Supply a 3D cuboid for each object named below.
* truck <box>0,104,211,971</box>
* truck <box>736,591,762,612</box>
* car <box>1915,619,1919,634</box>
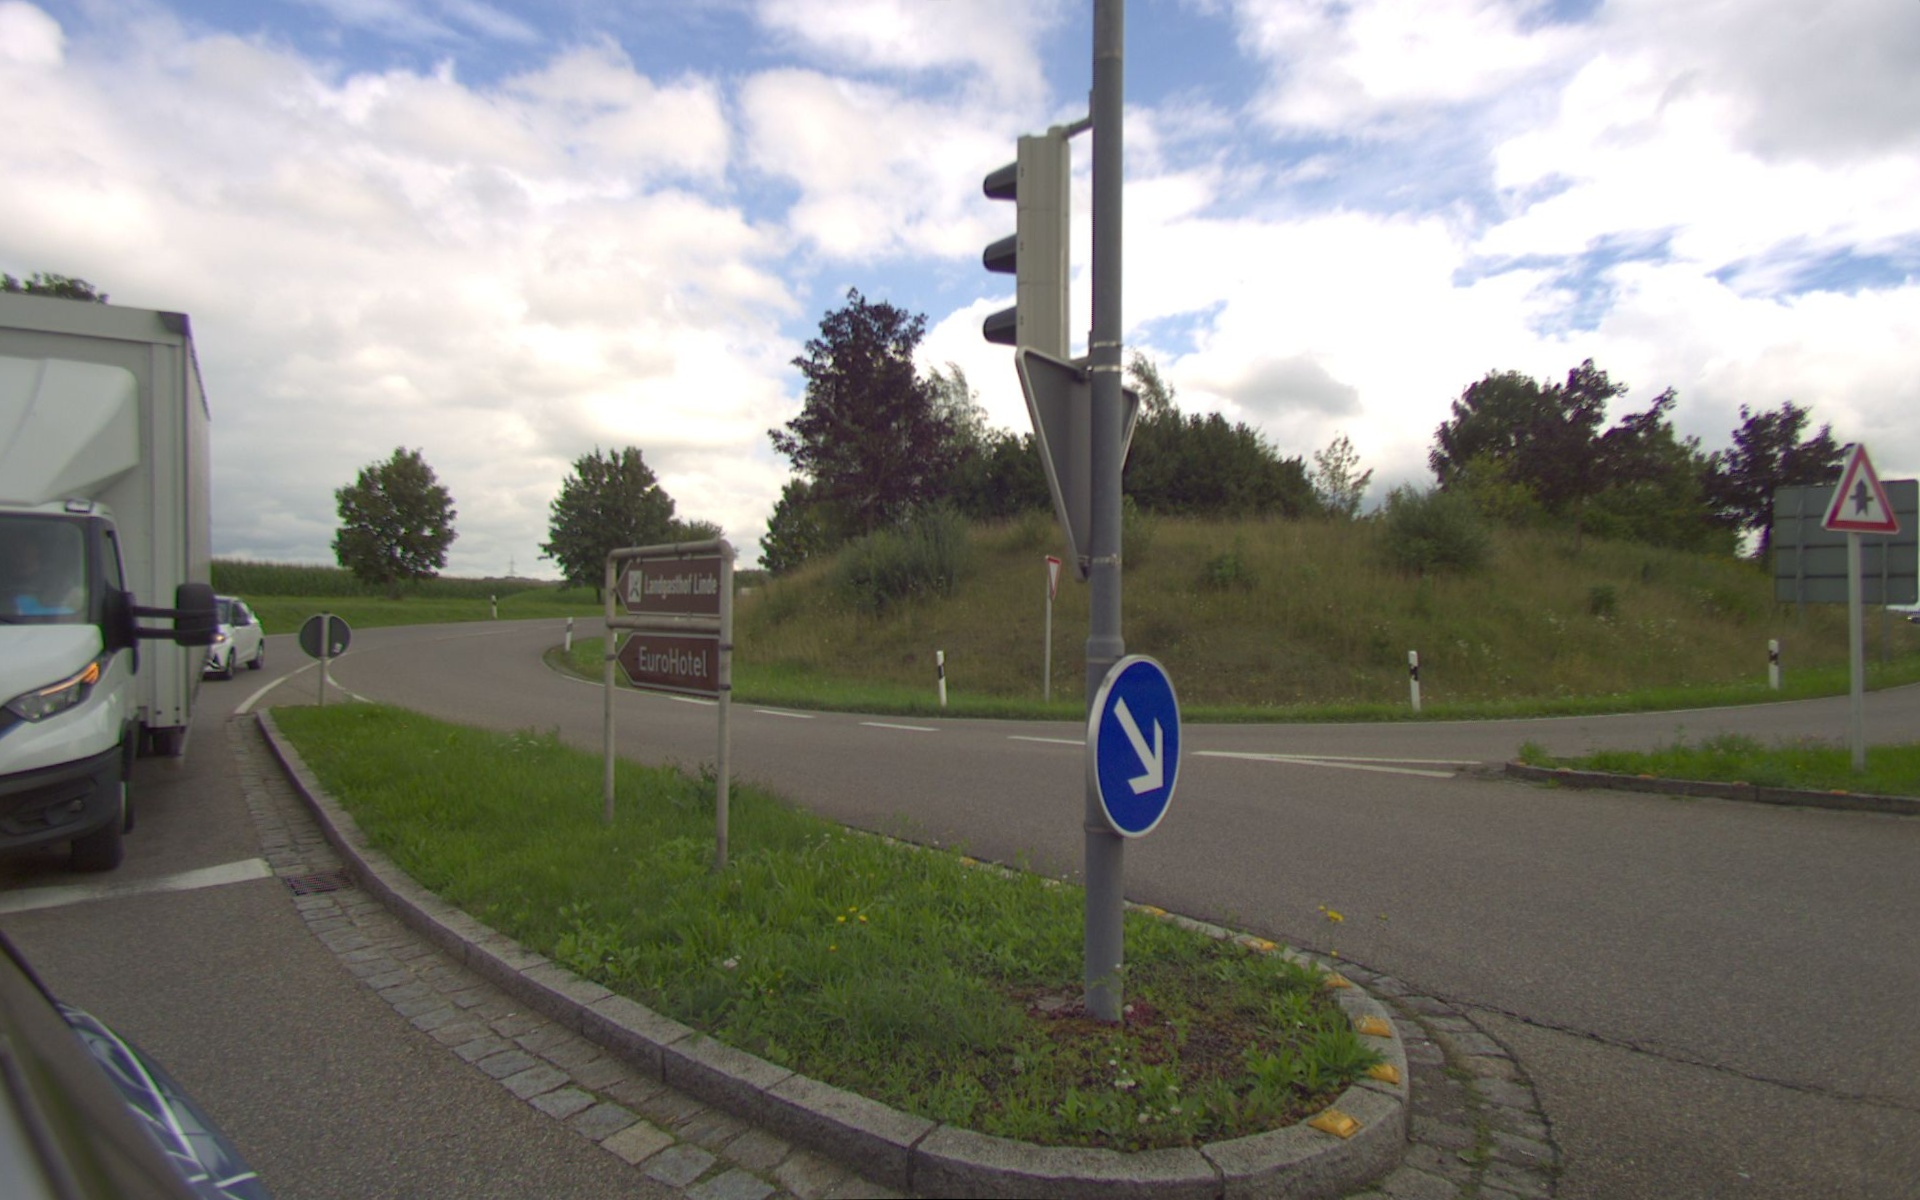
[{"bbox_3d":[-7.374,-0.330,7.557,2.793,3.792,8.820,1,0,-37],"label":"truck"},{"bbox_3d":[-25.343,0.241,121.314,2.252,2.439,6.402,0,0,-20],"label":"truck"},{"bbox_3d":[101.189,2.739,105.522,1.999,1.505,4.925,-2,-2,41],"label":"car"}]
